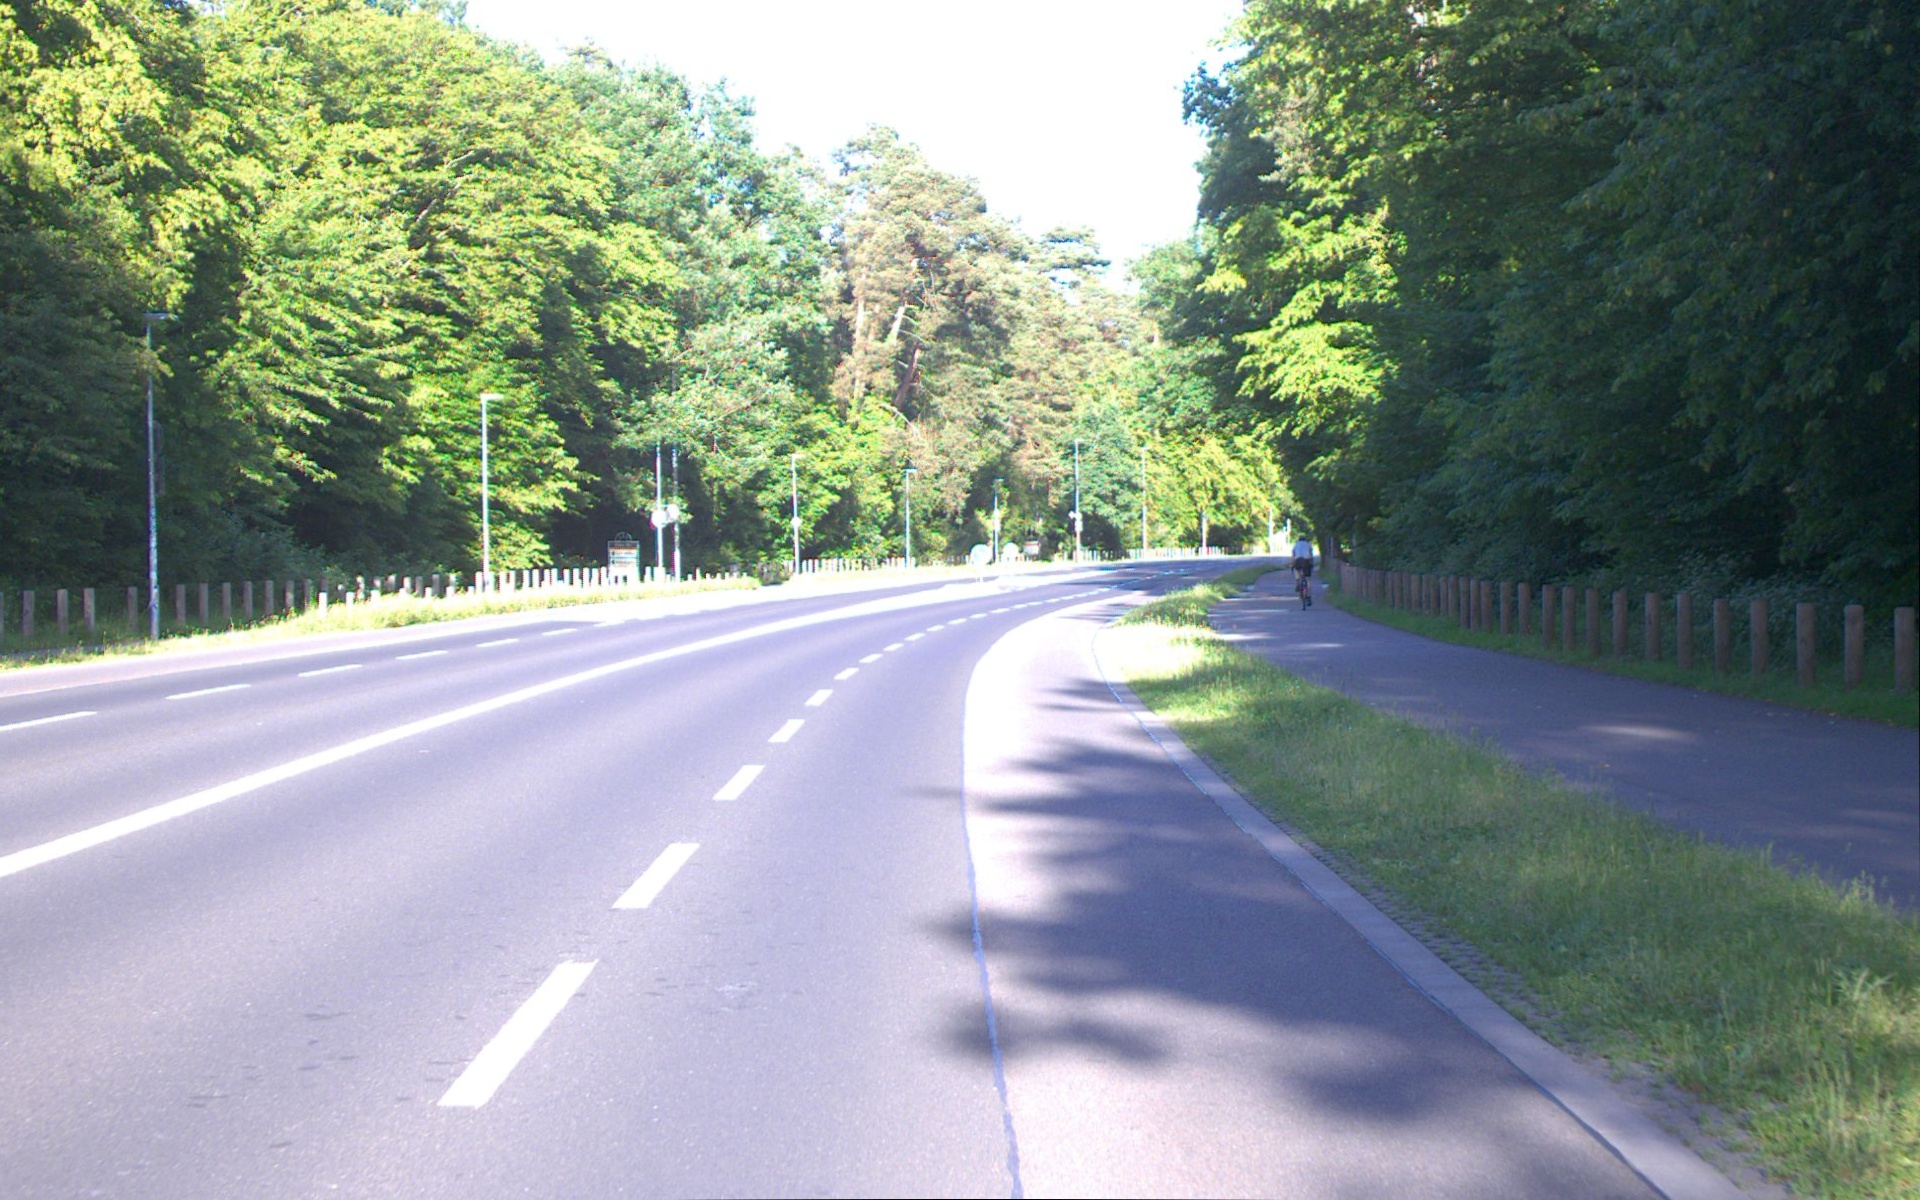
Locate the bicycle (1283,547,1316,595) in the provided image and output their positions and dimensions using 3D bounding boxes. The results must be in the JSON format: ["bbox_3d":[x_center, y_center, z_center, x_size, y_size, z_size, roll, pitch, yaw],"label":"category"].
[{"bbox_3d":[7.568,-0.648,76.590,0.712,1.052,2.052,0,1,6],"label":"bicycle"}]

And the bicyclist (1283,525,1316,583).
[{"bbox_3d":[7.567,-1.018,76.591,0.712,1.284,1.104,0,1,6],"label":"bicyclist"}]
